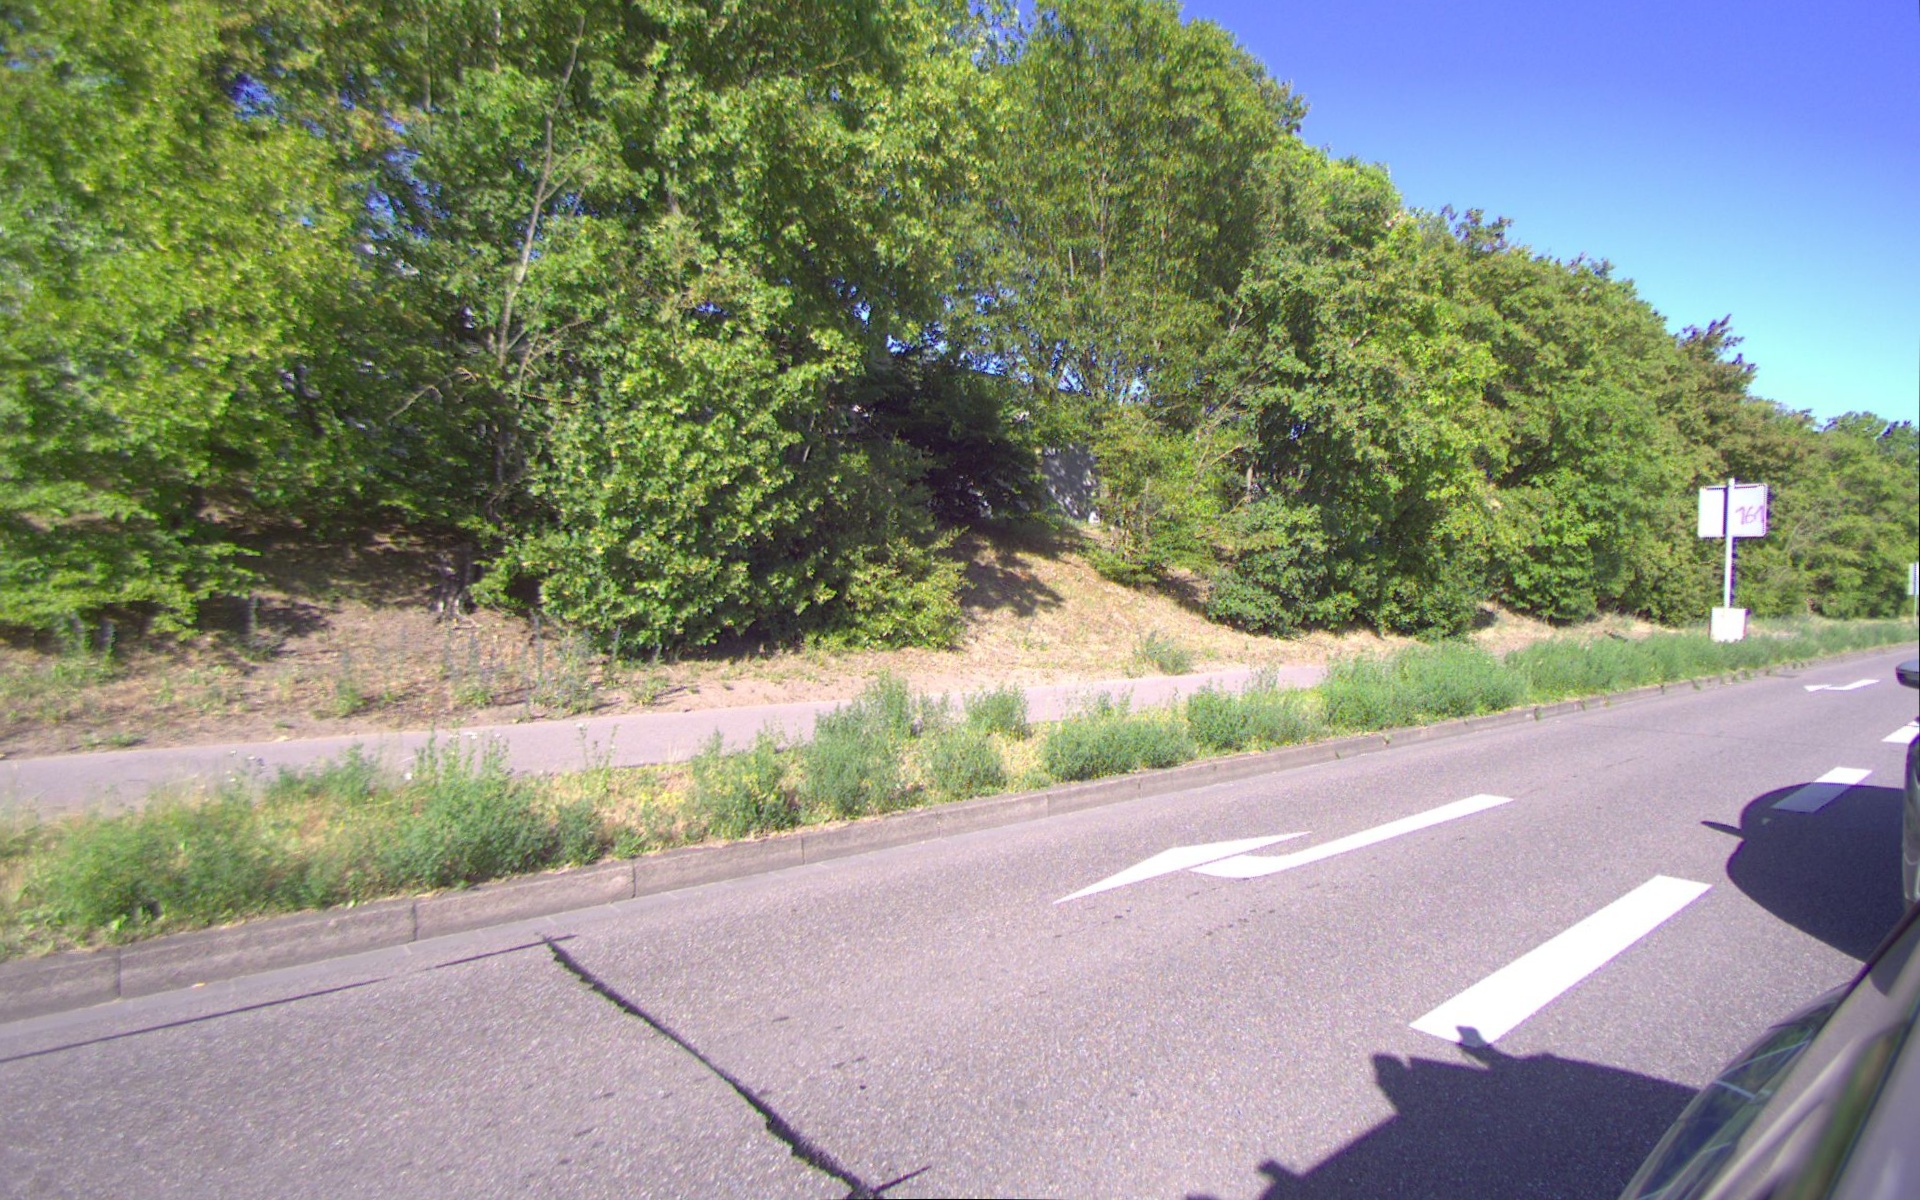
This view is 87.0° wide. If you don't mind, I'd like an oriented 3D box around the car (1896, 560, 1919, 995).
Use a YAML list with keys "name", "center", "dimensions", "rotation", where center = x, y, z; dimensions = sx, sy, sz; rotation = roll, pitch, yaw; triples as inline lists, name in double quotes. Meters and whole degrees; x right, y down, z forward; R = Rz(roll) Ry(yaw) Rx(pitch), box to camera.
- name: "car"
  center: [5.712, 0.656, 4.522]
  dimensions: [4.327, 1.603, 1.860]
  rotation: [0, 0, -42]
